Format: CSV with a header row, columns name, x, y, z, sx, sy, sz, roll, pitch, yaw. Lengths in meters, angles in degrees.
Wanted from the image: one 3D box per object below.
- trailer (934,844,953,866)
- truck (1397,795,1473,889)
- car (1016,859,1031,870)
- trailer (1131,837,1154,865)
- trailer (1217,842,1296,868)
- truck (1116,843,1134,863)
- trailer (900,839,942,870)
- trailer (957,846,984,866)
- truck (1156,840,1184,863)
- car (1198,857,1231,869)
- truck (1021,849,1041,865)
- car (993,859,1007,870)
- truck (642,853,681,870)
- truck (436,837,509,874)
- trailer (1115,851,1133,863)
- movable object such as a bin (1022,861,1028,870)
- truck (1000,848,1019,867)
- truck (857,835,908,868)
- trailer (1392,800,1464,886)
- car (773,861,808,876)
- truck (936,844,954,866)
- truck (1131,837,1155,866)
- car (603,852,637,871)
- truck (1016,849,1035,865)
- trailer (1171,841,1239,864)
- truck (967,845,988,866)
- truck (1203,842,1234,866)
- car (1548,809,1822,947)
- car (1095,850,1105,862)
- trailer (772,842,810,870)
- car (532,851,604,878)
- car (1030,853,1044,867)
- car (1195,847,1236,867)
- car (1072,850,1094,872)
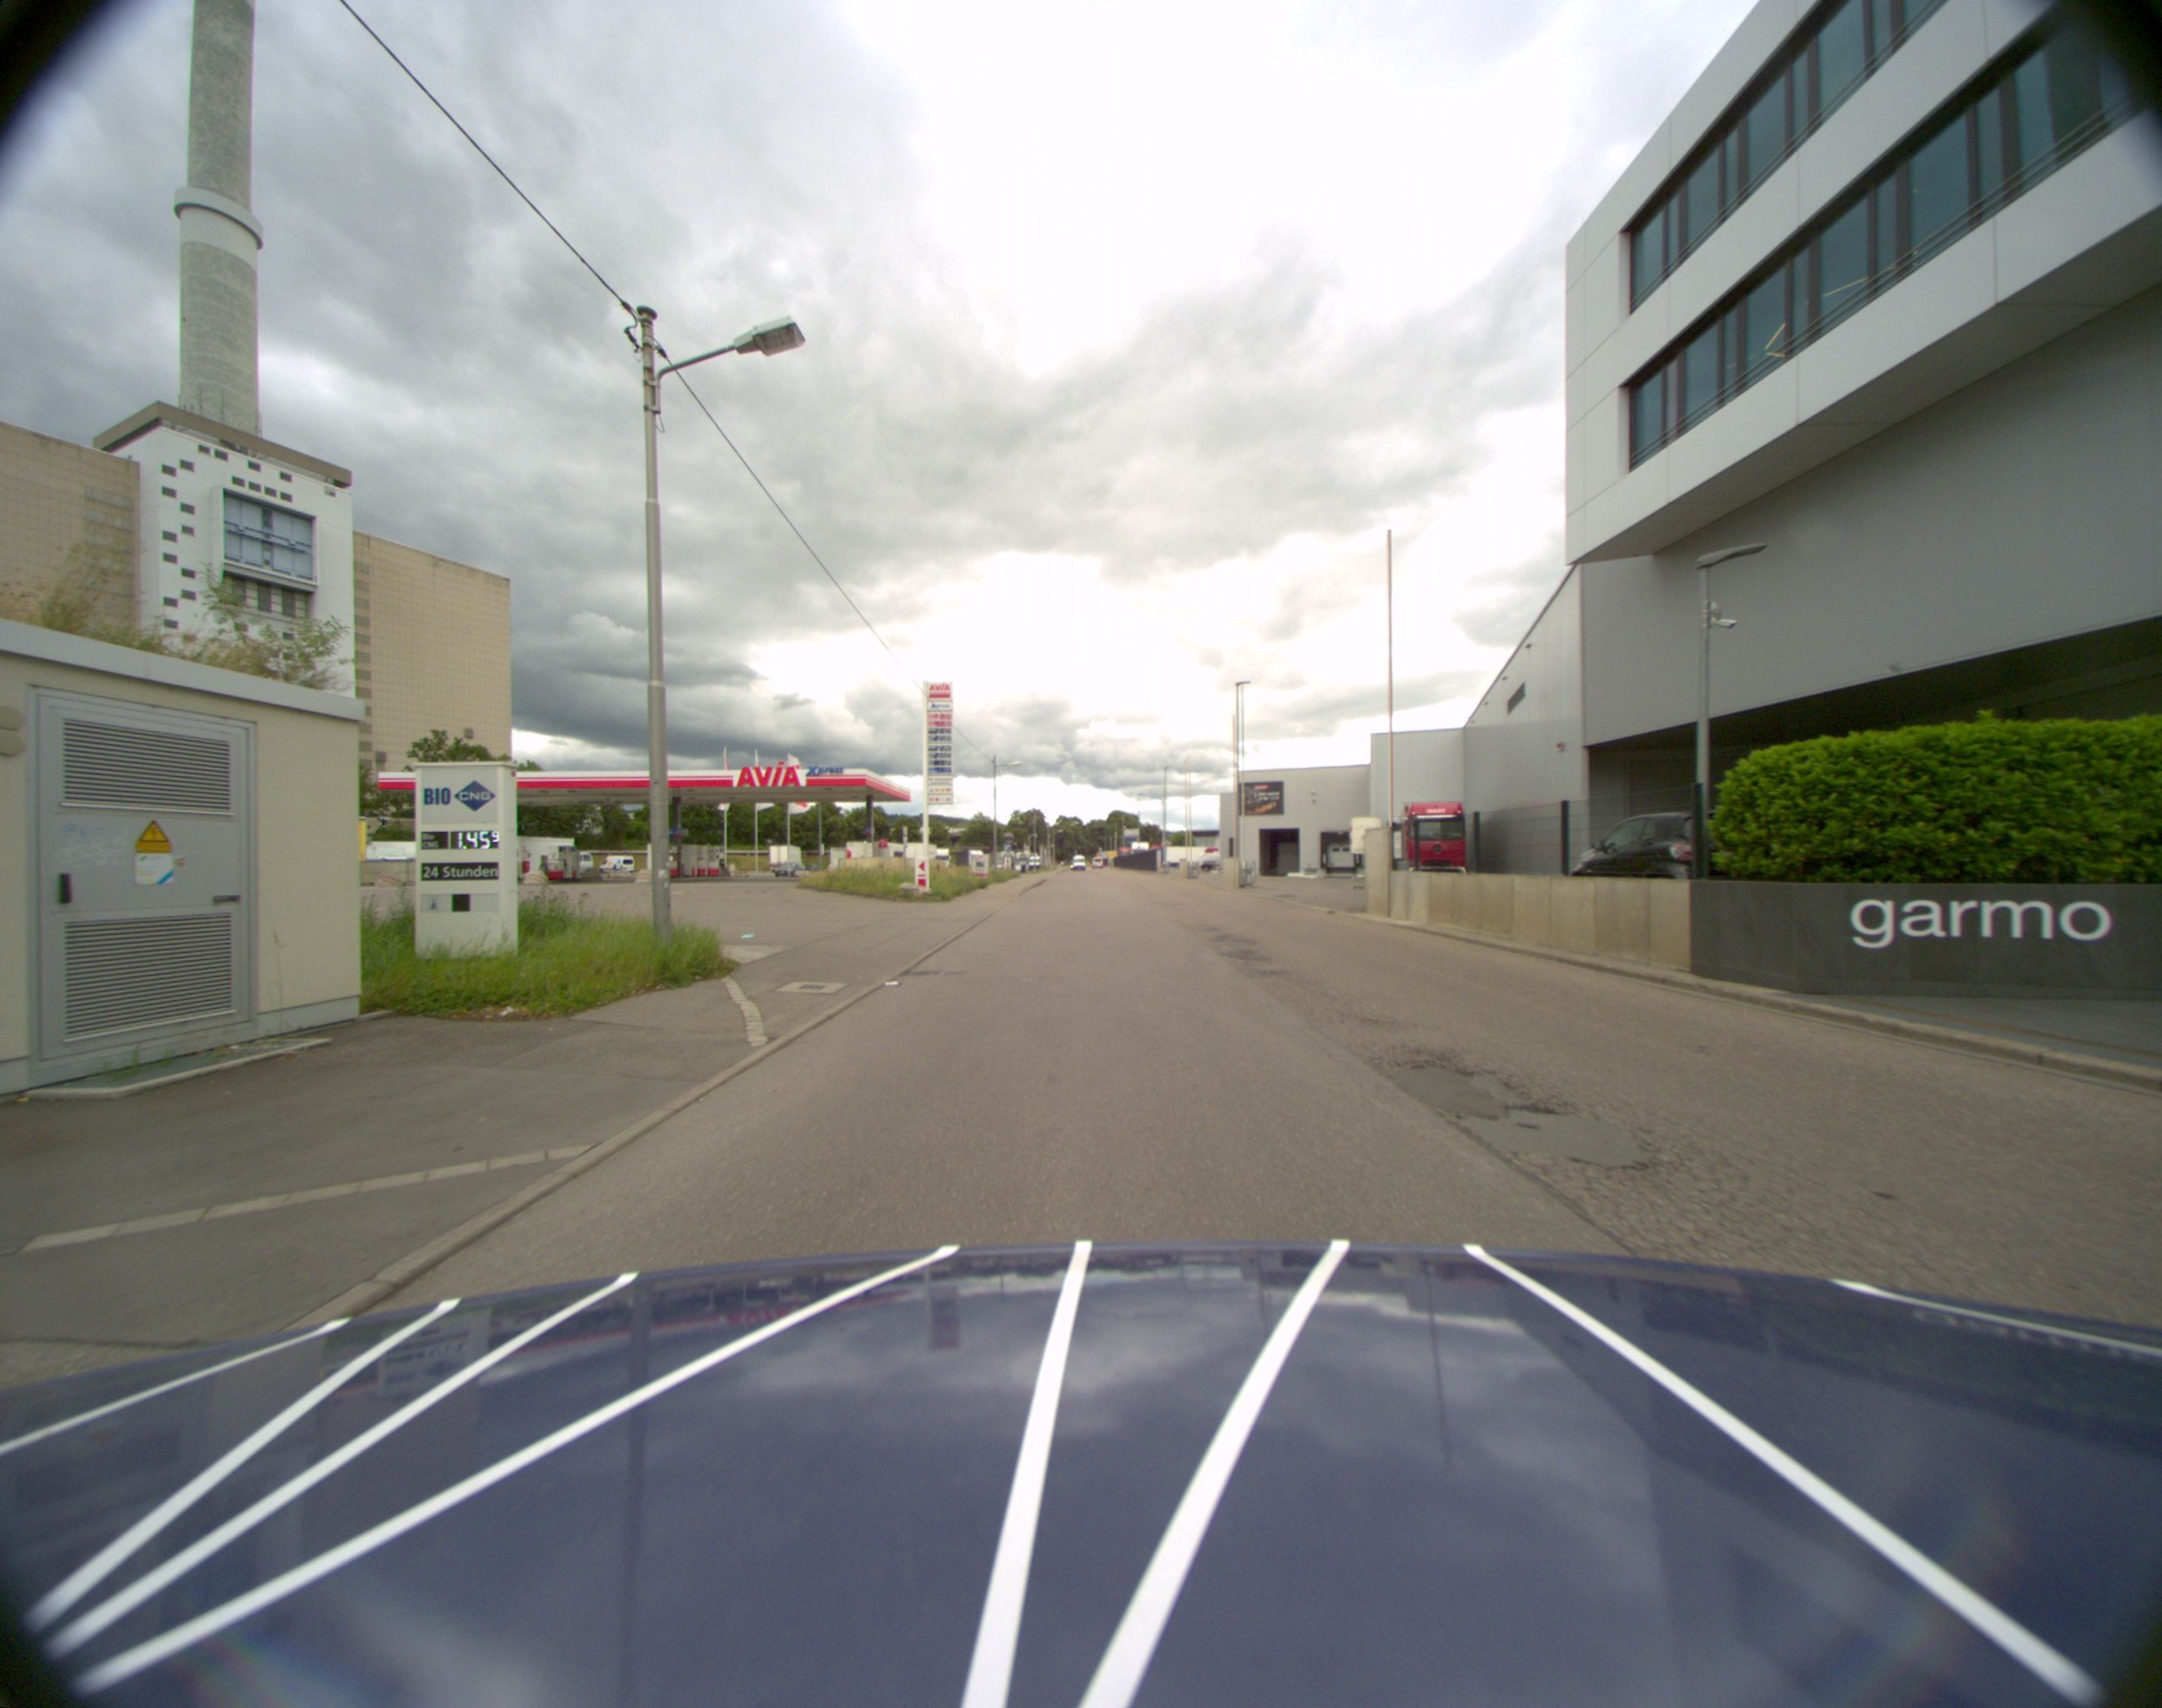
name,x,y,z,sx,sy,sz,roll,pitch,yaw
trailer,-26.817,0.280,147.642,2.841,4.070,13.381,1,-1,-14
truck,16.804,-0.480,36.501,2.745,4.007,7.104,-1,0,21
car,-7.878,1.456,104.315,1.778,1.455,4.560,-1,0,0
trailer,9.619,-0.375,120.315,3.366,4.135,13.853,1,0,4
trailer,30.806,0.187,133.689,13.158,4.188,3.053,1,0,22
truck,8.628,-0.188,149.317,3.021,3.826,5.670,1,0,0
trailer,-21.591,0.048,102.968,2.964,3.944,10.407,1,0,3
trailer,-23.279,0.467,159.374,2.843,4.070,13.374,1,-1,-20
truck,16.799,-0.468,143.492,4.878,4.108,3.048,1,0,1
car,18.433,1.230,104.747,4.072,1.567,1.947,-2,-1,21
truck,-12.046,0.690,182.532,2.832,3.689,9.090,-1,0,-18
car,-12.942,1.660,122.108,1.769,1.561,4.000,-3,0,0
truck,-66.090,1.161,119.731,5.942,2.476,2.286,1,0,26
truck,-69.702,0.225,87.034,7.237,4.096,3.718,-1,0,26
trailer,8.675,0.654,154.957,3.046,2.179,12.048,1,0,0
movable object such as a bin,-6.410,1.340,87.130,0.716,1.075,0.662,-1,0,-6
truck,-15.187,0.691,161.813,2.876,3.990,6.748,1,0,-15
truck,-25.620,-0.217,98.694,3.082,3.944,13.069,1,0,0
trailer,18.966,-0.476,42.188,2.745,4.007,12.637,-1,-1,21
car,-27.665,1.381,72.528,1.769,1.382,4.215,1,0,-1
truck,-25.333,0.219,141.694,2.876,4.070,6.749,1,0,-14
truck,9.155,-0.411,113.330,3.366,4.136,5.629,1,0,4
car,-67.730,1.130,111.650,5.073,2.820,2.112,-1,0,31
truck,-12.227,0.676,166.009,2.876,3.608,6.748,1,-1,-15
trailer,23.147,-0.339,142.117,12.020,4.108,3.053,1,0,19
truck,-20.825,0.375,152.564,2.877,4.070,6.745,1,0,-20
truck,24.618,0.067,136.231,4.870,4.180,3.053,1,0,22
car,8.889,0.314,11.547,1.654,1.751,3.179,-2,0,2
car,4.048,0.468,161.526,1.998,2.401,5.258,-2,-1,3
trailer,-43.512,0.331,114.496,3.644,3.887,13.722,0,-1,-14
car,-37.425,0.739,55.614,1.988,1.901,4.951,0,-1,0
car,-7.839,1.116,135.942,2.091,2.401,6.084,-1,0,2
car,19.458,0.425,109.627,5.423,2.714,2.245,-2,-1,19
car,0.253,1.225,129.271,3.339,3.586,8.668,0,0,-3
